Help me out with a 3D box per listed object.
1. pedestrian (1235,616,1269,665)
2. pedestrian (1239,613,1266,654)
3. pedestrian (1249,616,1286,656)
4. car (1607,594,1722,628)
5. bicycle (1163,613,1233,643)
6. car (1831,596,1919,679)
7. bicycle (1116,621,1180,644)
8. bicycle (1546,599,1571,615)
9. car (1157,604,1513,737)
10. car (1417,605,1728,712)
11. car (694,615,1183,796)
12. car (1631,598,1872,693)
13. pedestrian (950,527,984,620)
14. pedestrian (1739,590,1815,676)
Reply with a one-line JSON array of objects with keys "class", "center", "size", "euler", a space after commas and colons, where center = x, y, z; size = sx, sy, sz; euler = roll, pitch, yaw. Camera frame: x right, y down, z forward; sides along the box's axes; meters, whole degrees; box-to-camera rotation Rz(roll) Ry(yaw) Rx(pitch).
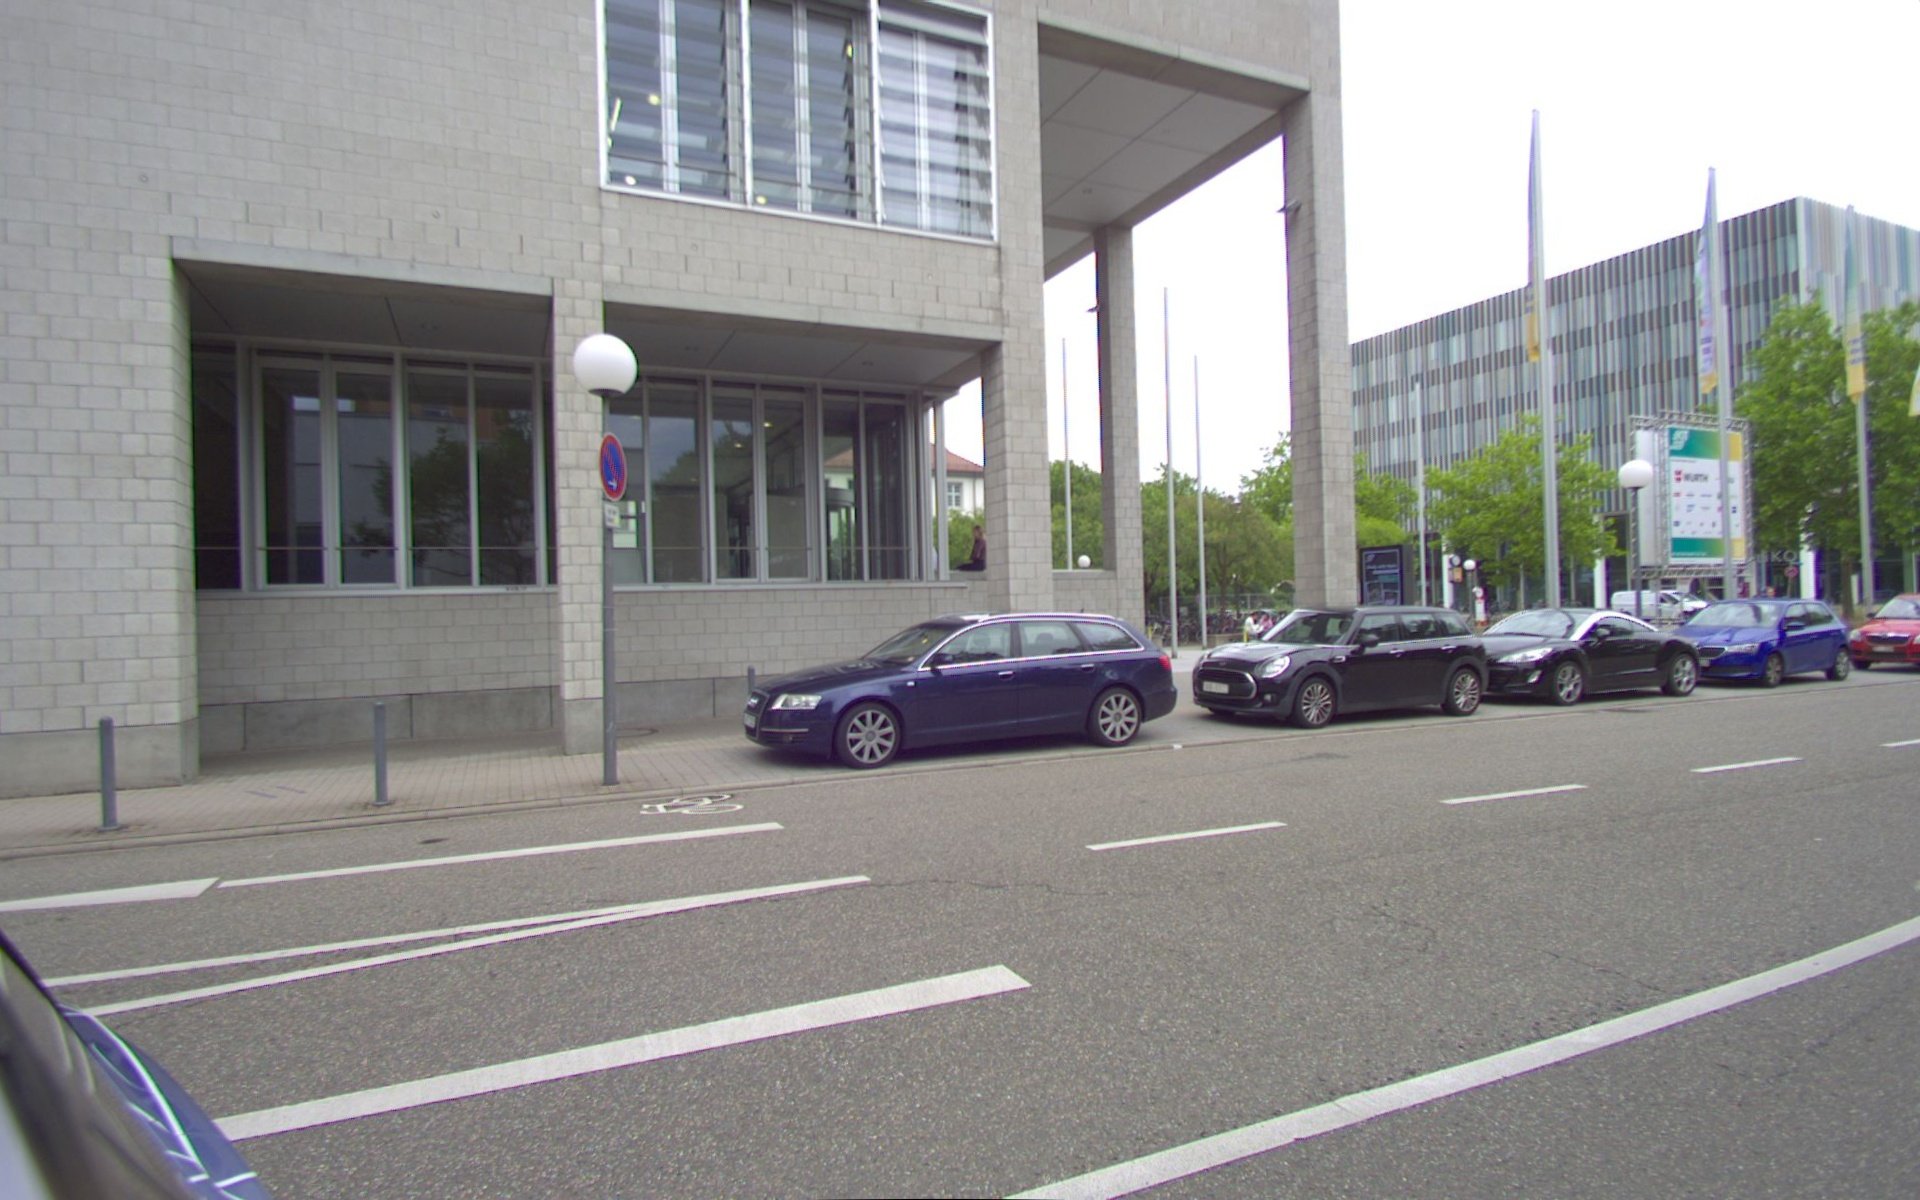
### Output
[{"class": "pedestrian", "center": [10.568, 1.442, 36.585], "size": [0.851, 1.717, 0.956], "euler": [-2, -1, 38]}, {"class": "pedestrian", "center": [10.503, 1.189, 36.370], "size": [0.671, 1.424, 0.761], "euler": [-3, -2, 34]}, {"class": "pedestrian", "center": [11.248, 1.320, 37.051], "size": [0.953, 1.431, 0.854], "euler": [-1, -2, -36]}, {"class": "car", "center": [39.418, 0.658, 56.781], "size": [1.965, 1.675, 4.855], "euler": [-1, -2, -27]}, {"class": "bicycle", "center": [10.270, 1.197, 43.635], "size": [3.054, 1.179, 0.750], "euler": [-1, -2, -23]}, {"class": "car", "center": [19.098, 0.677, 19.653], "size": [4.199, 1.484, 1.723], "euler": [-1, 0, -25]}, {"class": "bicycle", "center": [10.249, 1.767, 55.066], "size": [3.335, 1.179, 1.059], "euler": [1, -4, -19]}, {"class": "bicycle", "center": [50.273, 0.625, 85.029], "size": [2.068, 1.268, 0.630], "euler": [1, -4, -20]}, {"class": "car", "center": [4.977, 0.812, 13.363], "size": [4.442, 1.454, 1.830], "euler": [-1, 0, -26]}, {"class": "car", "center": [9.324, 0.846, 15.413], "size": [4.342, 1.453, 1.860], "euler": [1, -2, -24]}, {"class": "car", "center": [-0.208, 0.982, 10.914], "size": [4.837, 1.463, 2.006], "euler": [-1, -1, -25]}, {"class": "car", "center": [13.875, 0.731, 17.697], "size": [4.301, 1.422, 1.706], "euler": [-1, -1, -28]}, {"class": "pedestrian", "center": [0.127, -0.481, 19.026], "size": [0.622, 1.671, 0.807], "euler": [0, -3, 0]}, {"class": "pedestrian", "center": [16.078, 0.668, 19.933], "size": [0.915, 1.653, 0.739], "euler": [1, -4, -21]}]
